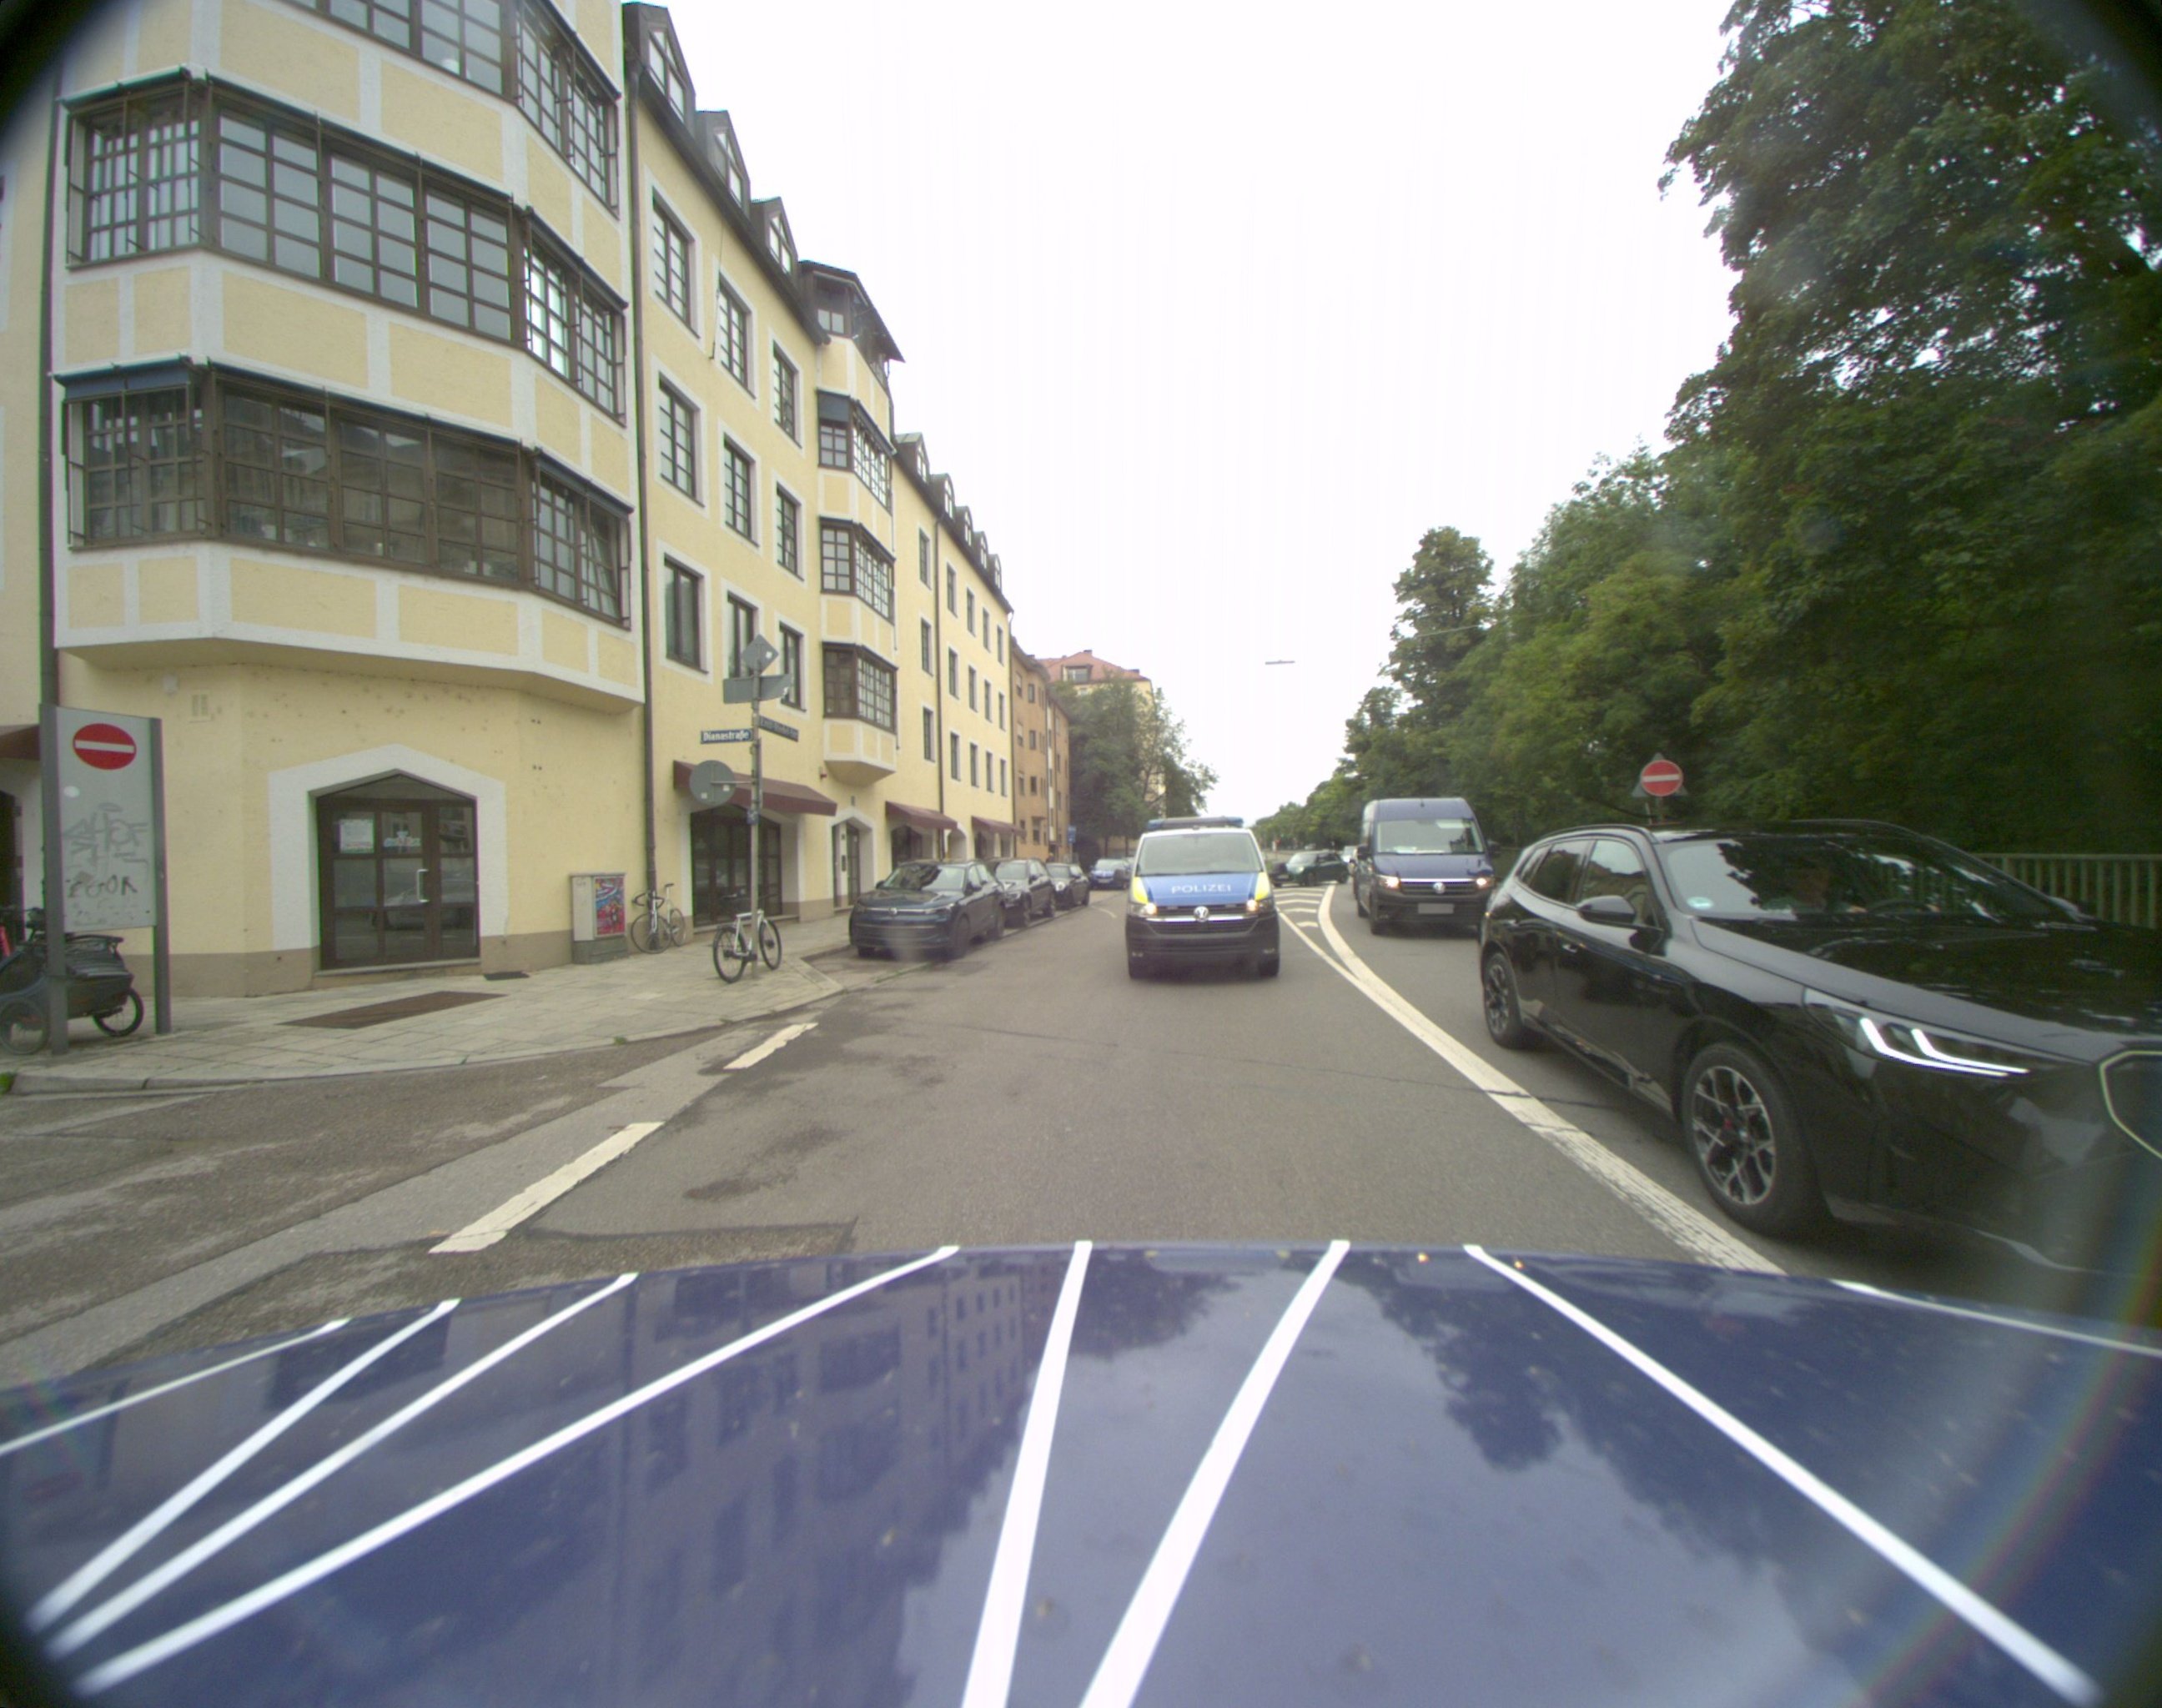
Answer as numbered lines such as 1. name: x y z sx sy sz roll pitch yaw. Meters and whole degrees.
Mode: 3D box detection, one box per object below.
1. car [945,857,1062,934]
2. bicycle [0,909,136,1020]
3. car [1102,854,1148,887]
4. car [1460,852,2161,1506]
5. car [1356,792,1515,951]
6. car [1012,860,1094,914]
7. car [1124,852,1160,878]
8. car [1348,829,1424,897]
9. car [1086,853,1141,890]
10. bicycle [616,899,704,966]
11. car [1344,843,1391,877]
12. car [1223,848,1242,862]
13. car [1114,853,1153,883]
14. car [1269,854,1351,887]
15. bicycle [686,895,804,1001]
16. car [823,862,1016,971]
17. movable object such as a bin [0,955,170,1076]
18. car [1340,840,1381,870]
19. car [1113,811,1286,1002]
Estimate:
1. car: -1.825 0.949 19.293 1.816 1.580 4.167 3 1 10
2. bicycle: -11.944 1.240 8.665 1.904 1.180 0.516 -1 0 7
3. car: 2.508 0.853 42.174 1.882 1.642 4.620 -3 0 10
4. car: 3.664 0.807 3.891 1.920 1.556 4.296 -1 1 10
5. car: 6.697 0.236 15.086 2.003 2.477 6.239 -2 1 17
6. car: -0.801 0.970 24.321 1.762 1.514 3.935 0 1 11
7. car: 4.182 0.716 51.646 1.881 1.642 4.303 -3 0 11
8. car: 9.979 0.253 25.220 2.004 1.925 5.813 -3 0 19
9. car: 1.680 0.789 36.982 1.881 1.642 5.621 0 0 11
10. bicycle: -6.961 1.271 12.652 0.262 0.897 1.696 3 1 9
11. car: 15.063 0.265 40.112 2.101 1.580 5.575 -3 0 19
12. car: 17.062 0.084 85.387 1.996 1.586 4.004 0 0 14
13. car: 3.289 0.815 46.986 1.882 1.642 4.588 -3 0 10
14. car: 9.657 0.674 31.941 3.618 1.207 1.492 -2 1 -39
15. bicycle: -4.447 1.192 10.234 0.430 1.152 2.054 0 1 8
16. car: -2.736 1.016 14.121 2.110 1.613 4.499 -1 0 7
17. movable object such as a bin: -8.915 1.382 6.652 1.125 0.895 0.684 -1 1 7
18. car: 18.143 0.048 49.500 2.313 1.719 5.221 -3 0 19
19. car: 1.774 0.603 11.332 1.825 2.086 5.637 -3 0 9
